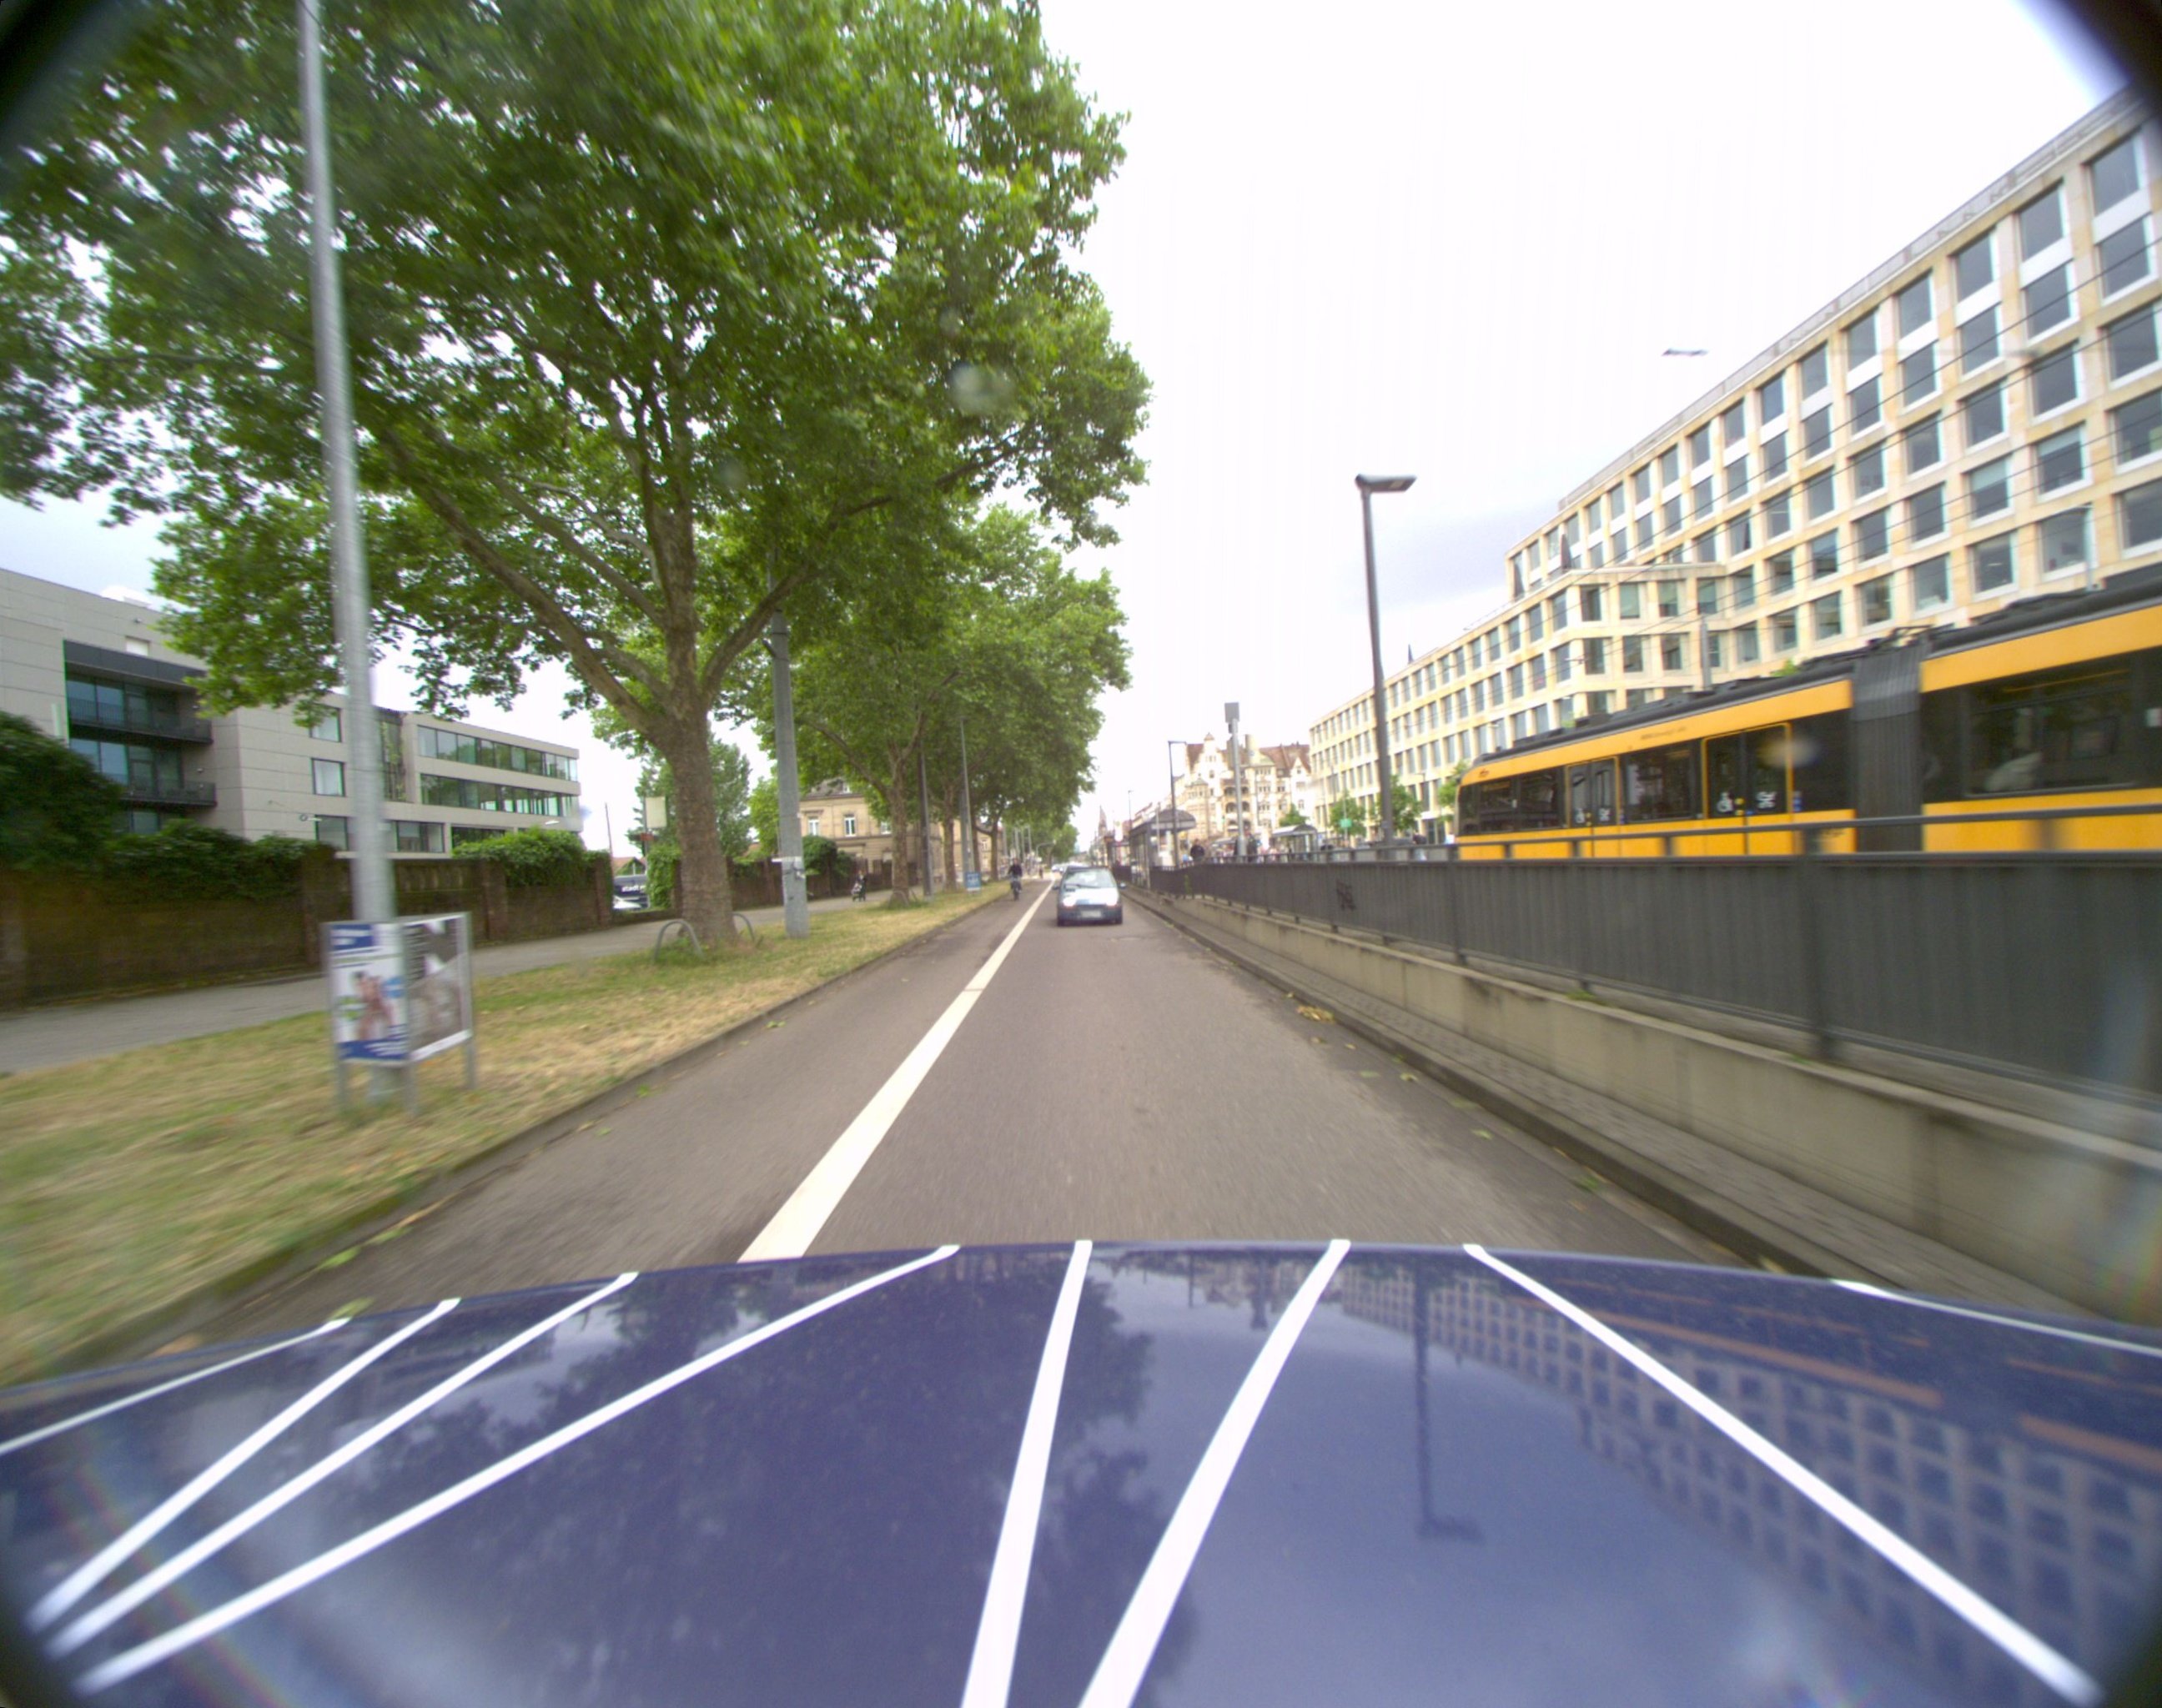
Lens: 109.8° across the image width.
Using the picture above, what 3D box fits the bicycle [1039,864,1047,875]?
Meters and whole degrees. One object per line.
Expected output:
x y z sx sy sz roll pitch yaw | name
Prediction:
-4.275 1.775 85.911 0.815 1.163 2.276 -3 0 -3 | bicycle

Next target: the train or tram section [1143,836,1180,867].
10.644 -0.355 101.839 2.862 3.670 13.518 -3 0 -2 | train or tram section

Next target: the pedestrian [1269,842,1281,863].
15.735 -0.112 61.622 0.580 1.598 0.655 -4 1 -34 | pedestrian

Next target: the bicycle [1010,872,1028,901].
-2.716 1.389 33.374 0.654 1.143 2.282 -3 0 -3 | bicycle

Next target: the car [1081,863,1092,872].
1.169 2.918 161.984 1.869 1.630 3.774 -3 0 -3 | car

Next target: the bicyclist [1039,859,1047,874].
-4.305 1.428 86.008 0.812 1.591 1.189 -3 1 -2 | bicyclist

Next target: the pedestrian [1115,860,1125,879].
2.796 1.106 55.008 0.612 1.364 0.600 -3 1 0 | pedestrian

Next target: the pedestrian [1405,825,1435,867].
15.249 -0.357 34.158 0.713 1.785 1.160 -3 1 -2 | pedestrian

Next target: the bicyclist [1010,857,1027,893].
-2.753 0.905 33.355 0.642 1.522 0.664 -3 1 -3 | bicyclist

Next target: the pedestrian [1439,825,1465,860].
21.969 -0.698 45.045 0.935 2.002 1.032 -3 1 -2 | pedestrian

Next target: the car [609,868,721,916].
-20.655 1.857 37.874 4.359 2.002 1.999 -3 1 -3 | car

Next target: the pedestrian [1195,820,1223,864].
5.343 -0.479 31.781 0.672 1.783 1.112 -4 1 -14 | pedestrian

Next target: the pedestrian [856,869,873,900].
-11.682 1.650 40.993 0.559 1.623 0.670 -3 1 5 | pedestrian

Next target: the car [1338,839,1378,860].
24.049 -0.362 66.040 1.998 1.652 4.000 -3 0 1 | car

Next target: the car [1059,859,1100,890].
-0.100 1.048 40.883 1.999 1.443 4.100 -3 0 0 | car

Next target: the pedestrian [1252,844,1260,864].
14.414 0.018 62.610 0.536 1.598 0.565 -3 1 6 | pedestrian

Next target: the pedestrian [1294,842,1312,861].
16.553 -0.159 56.687 1.040 1.364 0.939 -3 1 2 | pedestrian

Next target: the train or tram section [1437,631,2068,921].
11.986 -1.097 16.197 3.246 3.839 11.310 -3 0 0 | train or tram section

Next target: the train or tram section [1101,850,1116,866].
6.332 0.856 177.094 2.652 3.417 13.617 -3 0 -1 | train or tram section

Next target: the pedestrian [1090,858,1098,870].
1.850 1.367 106.467 0.862 1.633 0.651 -4 1 -43 | pedestrian

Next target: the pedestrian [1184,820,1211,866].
4.701 -0.448 30.656 0.672 1.783 1.112 -4 1 -9 | pedestrian

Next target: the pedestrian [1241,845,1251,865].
15.263 0.069 70.165 0.589 1.759 0.596 -4 1 -38 | pedestrian

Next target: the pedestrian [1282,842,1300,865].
16.172 -0.065 58.559 1.040 1.676 0.939 -3 1 2 | pedestrian

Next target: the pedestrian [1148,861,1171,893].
3.346 0.989 32.388 0.837 1.296 0.613 -3 1 -2 | pedestrian

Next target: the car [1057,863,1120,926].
0.206 1.051 20.833 1.535 1.464 3.353 -2 0 1 | car

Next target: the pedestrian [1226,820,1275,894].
4.748 0.083 21.343 1.061 2.002 0.840 -3 1 -1 | pedestrian

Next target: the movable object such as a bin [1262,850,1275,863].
15.171 0.215 61.391 0.622 1.015 0.721 -4 1 -34 | movable object such as a bin

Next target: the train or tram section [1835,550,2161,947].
12.098 -1.092 4.838 3.172 3.839 11.310 -3 0 0 | train or tram section

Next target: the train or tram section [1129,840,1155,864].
9.993 -0.347 126.162 2.862 3.619 11.763 -3 0 -2 | train or tram section

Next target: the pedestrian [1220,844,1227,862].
14.247 -0.078 75.998 0.596 1.759 0.589 -3 1 6 | pedestrian

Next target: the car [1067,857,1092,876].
-0.153 1.091 65.733 1.999 1.443 4.100 -3 0 0 | car

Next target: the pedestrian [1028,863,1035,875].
-6.205 1.866 95.664 0.552 1.519 0.639 -3 1 17 | pedestrian

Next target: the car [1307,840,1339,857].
24.926 -0.560 78.287 1.998 1.652 4.000 -3 0 1 | car

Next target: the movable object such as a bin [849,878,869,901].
-11.704 1.869 40.093 0.613 1.105 1.015 -3 0 5 | movable object such as a bin
